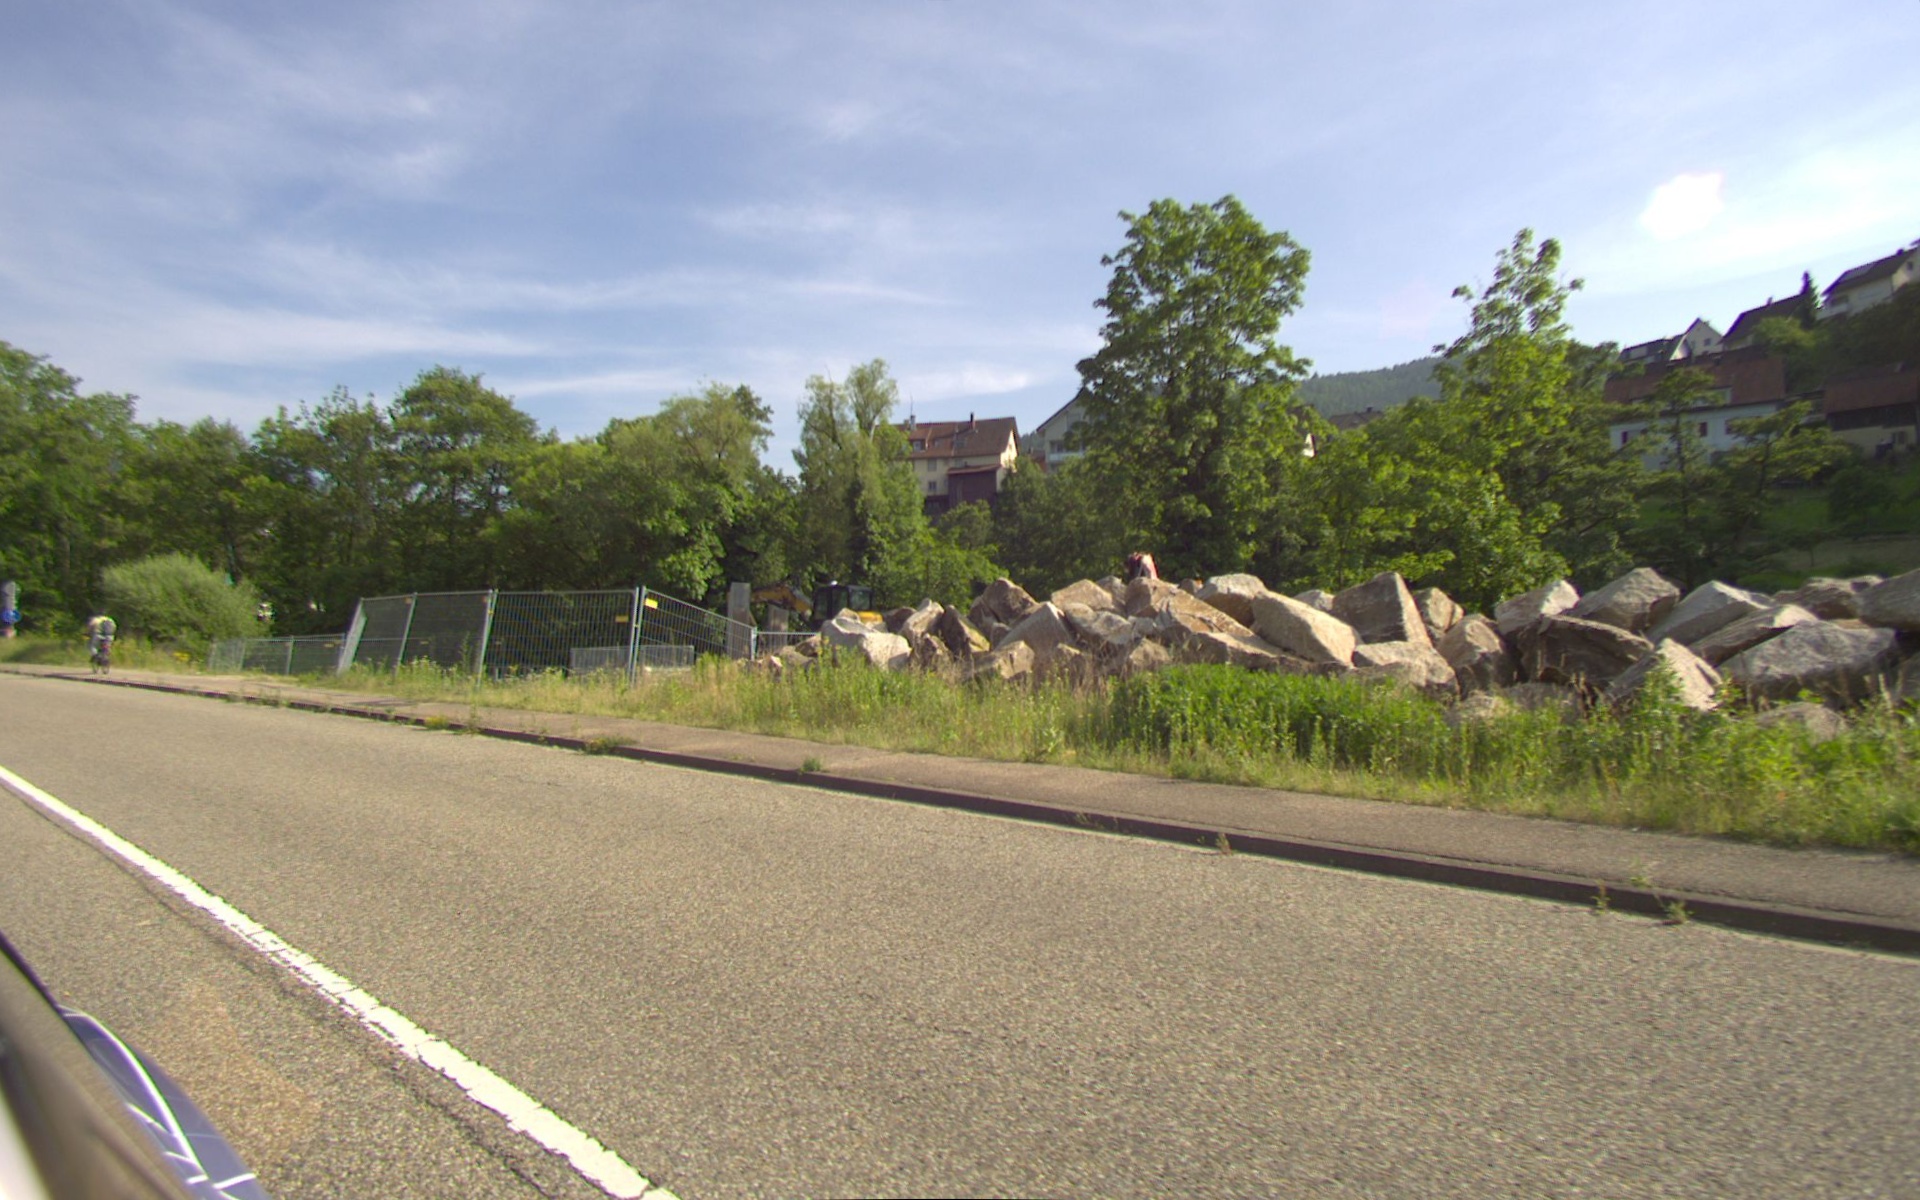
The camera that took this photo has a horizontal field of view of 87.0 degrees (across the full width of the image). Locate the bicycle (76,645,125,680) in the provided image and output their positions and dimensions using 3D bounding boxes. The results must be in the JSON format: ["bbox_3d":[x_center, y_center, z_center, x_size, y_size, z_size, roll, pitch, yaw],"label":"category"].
[{"bbox_3d":[-23.487,1.687,27.646,2.248,0.888,0.534,-2,-1,37],"label":"bicycle"}]

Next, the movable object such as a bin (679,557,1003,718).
[{"bbox_3d":[-3.675,1.102,29.096,9.966,3.978,2.676,-1,-4,35],"label":"movable object such as a bin"}]

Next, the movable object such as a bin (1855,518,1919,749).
[{"bbox_3d":[20.141,0.578,16.581,7.792,3.978,2.872,-1,-4,36],"label":"movable object such as a bin"}]

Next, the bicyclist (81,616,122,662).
[{"bbox_3d":[-23.397,1.061,27.590,0.856,1.234,0.677,-2,-2,36],"label":"bicyclist"}]

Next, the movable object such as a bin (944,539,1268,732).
[{"bbox_3d":[3.331,0.877,24.117,7.214,3.978,2.697,-1,-4,36],"label":"movable object such as a bin"}]
